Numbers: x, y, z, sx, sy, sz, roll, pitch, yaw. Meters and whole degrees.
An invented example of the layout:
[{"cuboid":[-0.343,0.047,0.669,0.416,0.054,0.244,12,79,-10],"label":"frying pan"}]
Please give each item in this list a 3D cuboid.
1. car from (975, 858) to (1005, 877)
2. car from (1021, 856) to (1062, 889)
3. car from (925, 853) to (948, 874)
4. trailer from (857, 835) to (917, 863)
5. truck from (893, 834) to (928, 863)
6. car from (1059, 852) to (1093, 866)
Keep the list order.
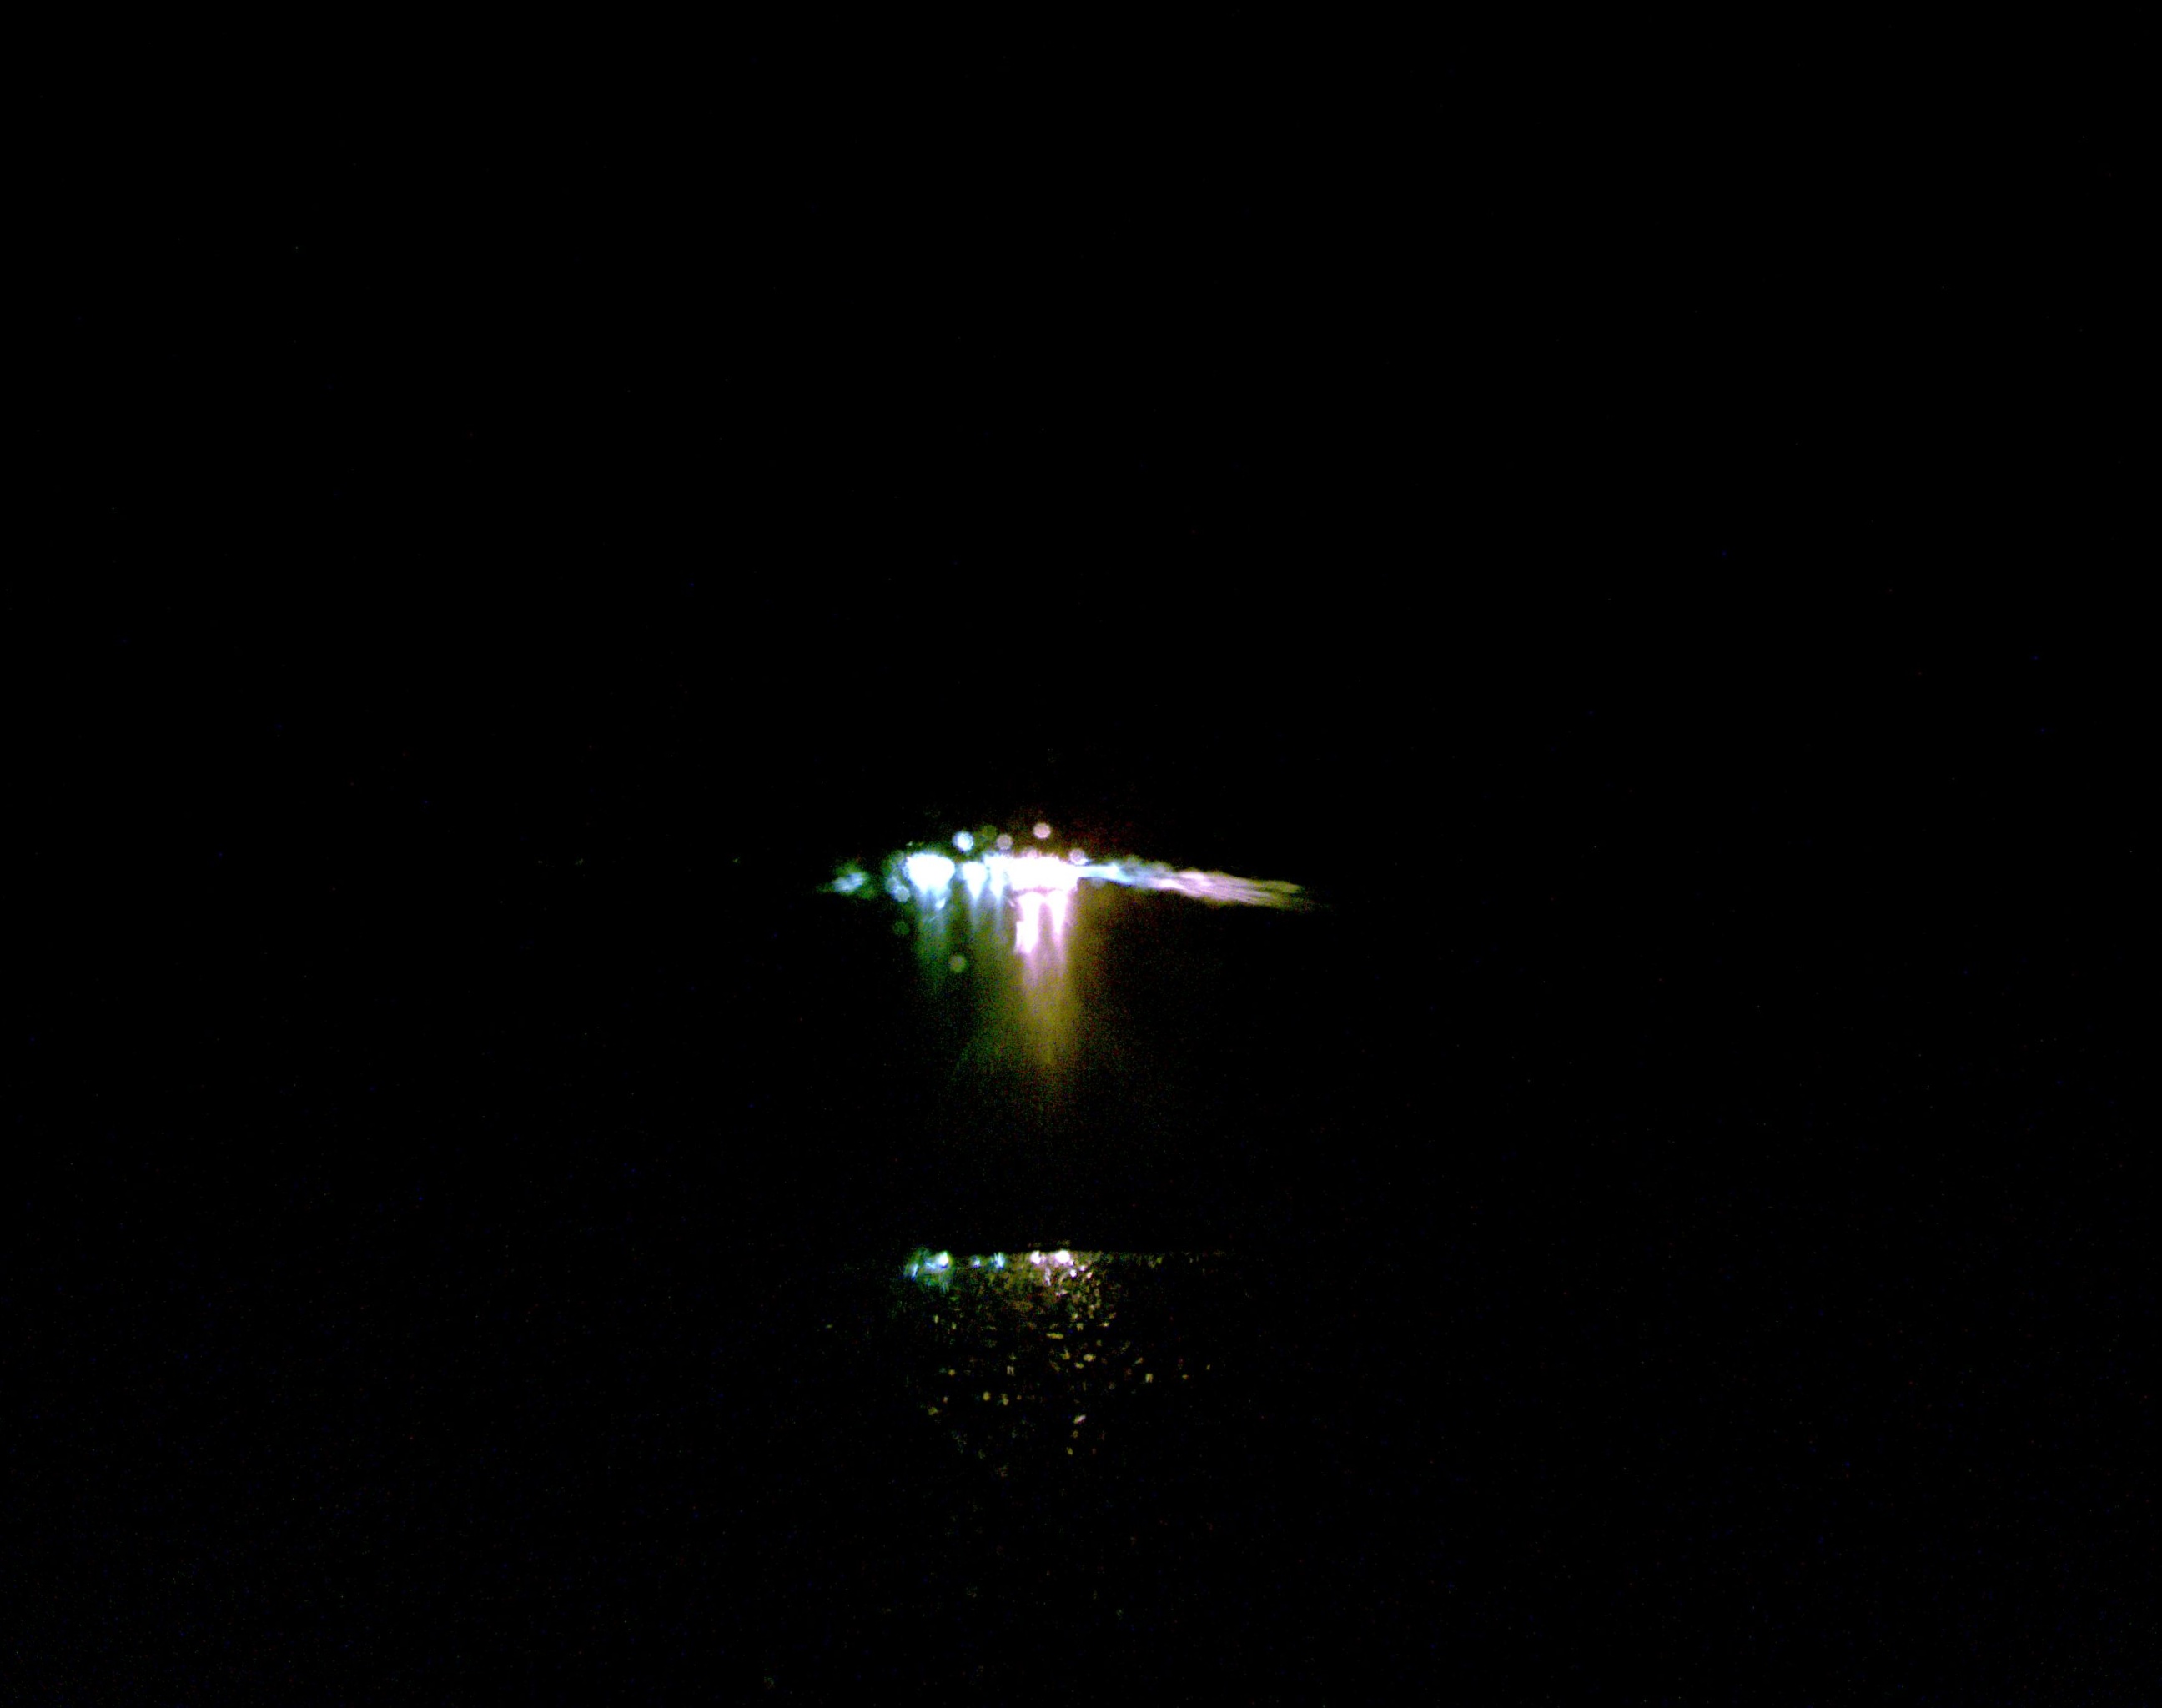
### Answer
[{"cuboid":[-6.918,0.997,57.211,1.762,1.304,4.080,-2,0,-13],"label":"car"},{"cuboid":[-1.923,0.840,36.252,1.688,1.442,3.640,-2,0,-6],"label":"car"},{"cuboid":[-12.512,0.853,65.642,1.743,1.674,4.115,-3,0,-14],"label":"car"},{"cuboid":[-32.261,-0.730,125.572,13.670,4.312,2.545,-1,2,44],"label":"trailer"},{"cuboid":[-27.136,-0.837,120.718,5.548,4.312,2.545,-1,2,44],"label":"truck"},{"cuboid":[-0.643,0.625,96.158,4.042,1.641,1.793,-3,0,45],"label":"car"}]
